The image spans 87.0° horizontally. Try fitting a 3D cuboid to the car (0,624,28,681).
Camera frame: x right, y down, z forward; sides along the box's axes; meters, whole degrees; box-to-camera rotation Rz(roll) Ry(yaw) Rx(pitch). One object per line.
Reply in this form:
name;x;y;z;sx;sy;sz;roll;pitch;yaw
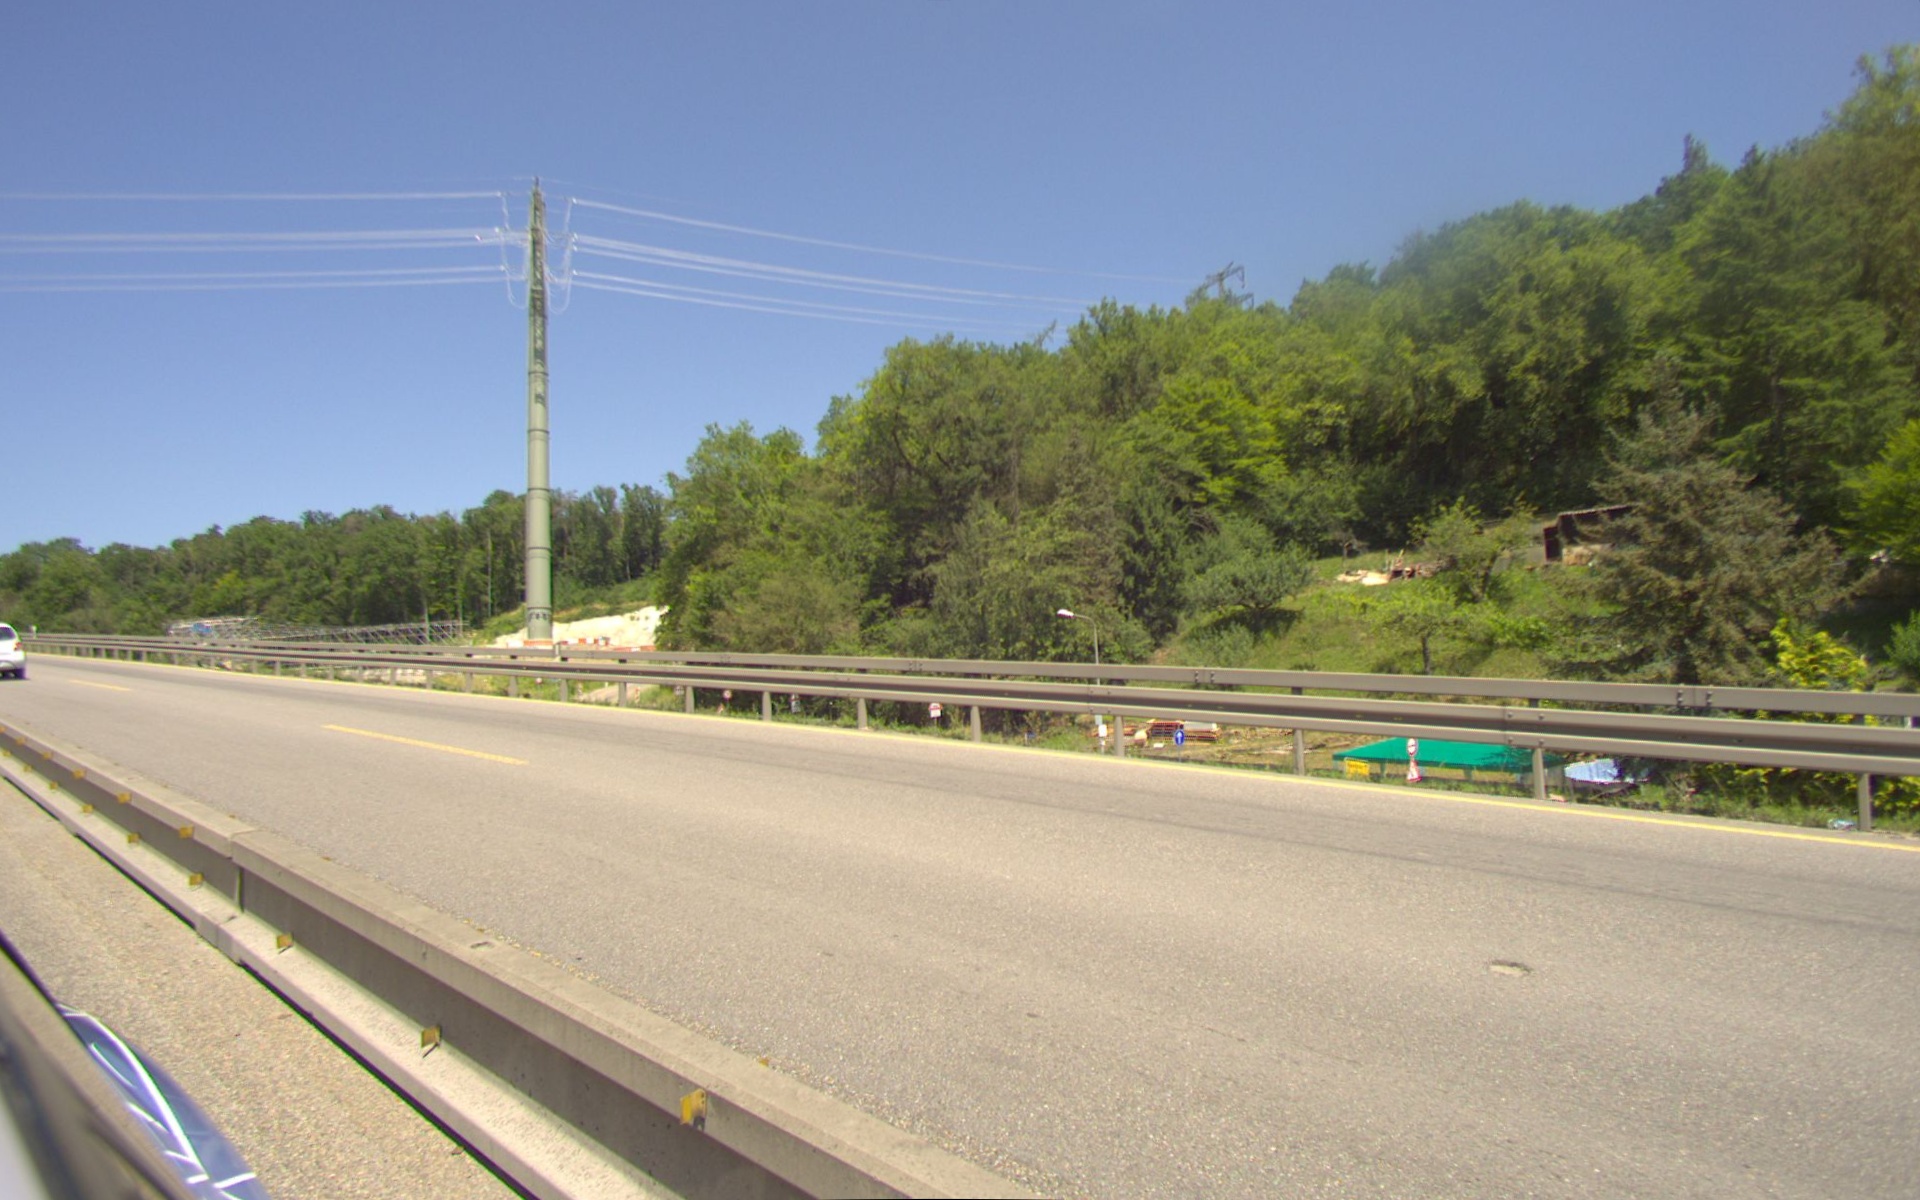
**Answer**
car;-25.684;1.367;26.302;3.706;1.437;1.729;-2;-2;40
